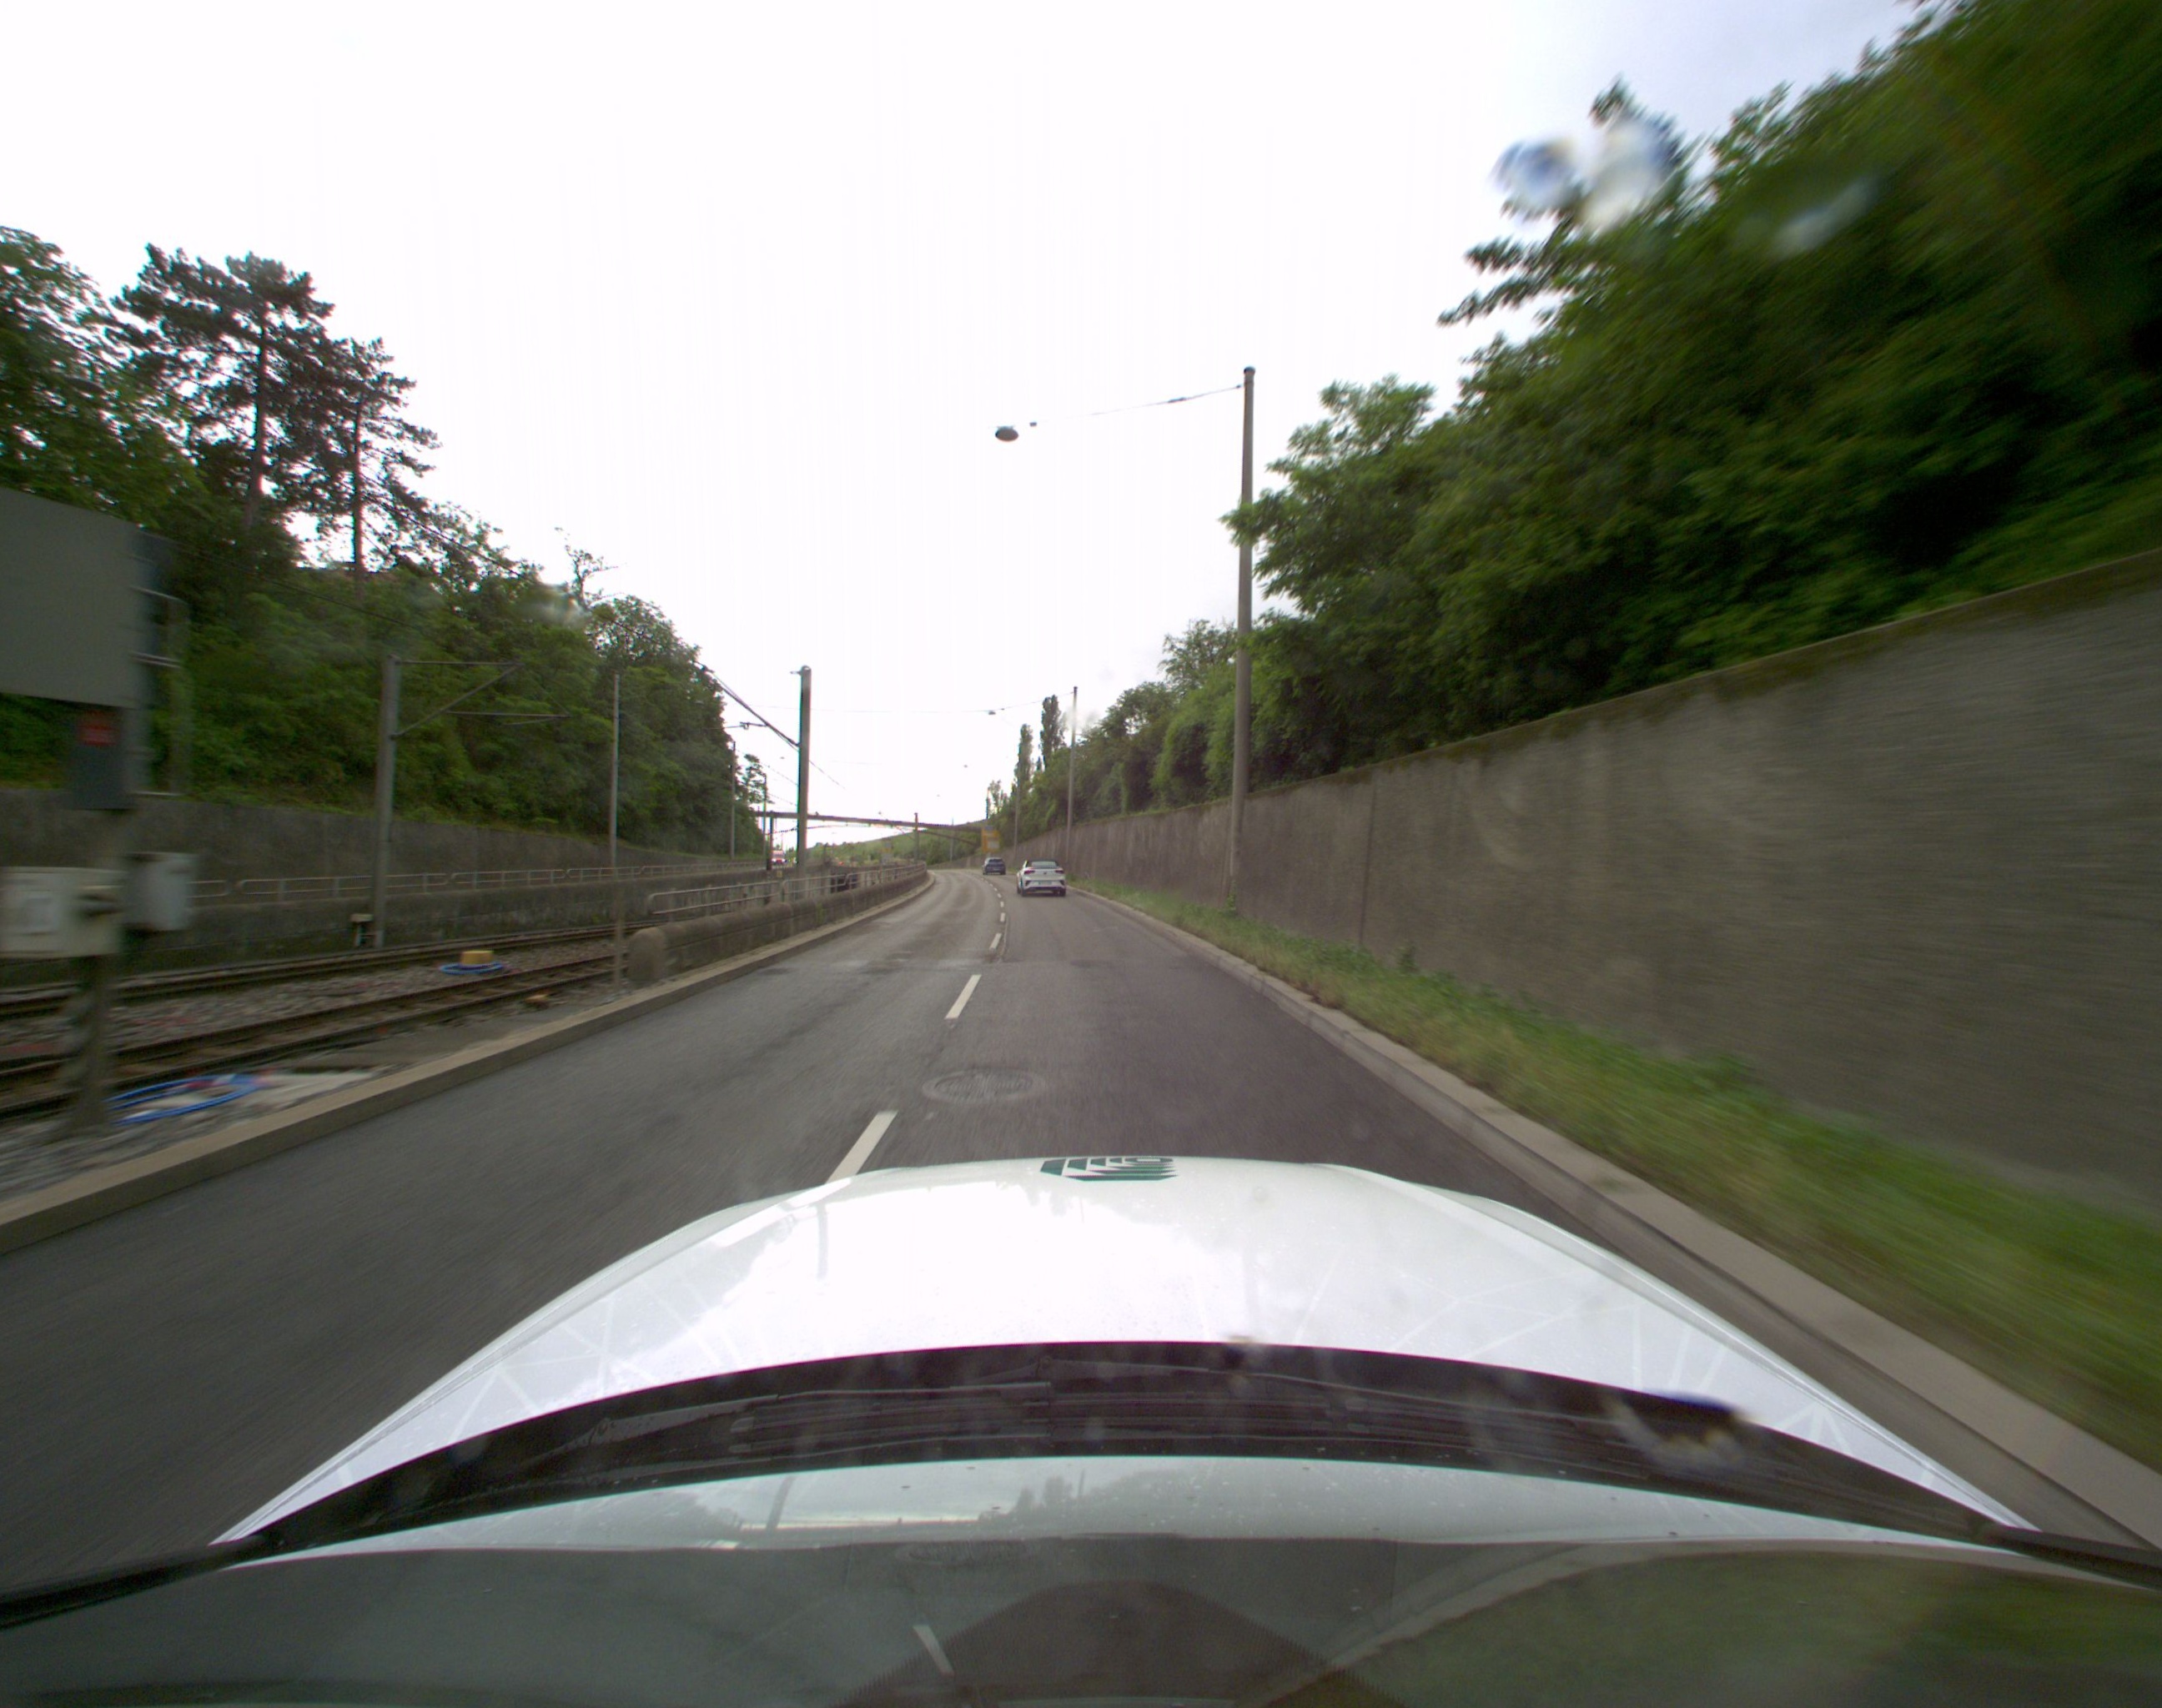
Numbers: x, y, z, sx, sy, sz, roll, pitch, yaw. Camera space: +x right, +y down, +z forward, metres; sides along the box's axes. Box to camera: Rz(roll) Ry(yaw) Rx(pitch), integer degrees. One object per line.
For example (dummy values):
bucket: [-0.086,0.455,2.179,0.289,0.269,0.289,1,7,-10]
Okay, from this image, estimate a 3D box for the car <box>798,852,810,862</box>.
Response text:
car: [-50.277,0.525,147.978,1.967,1.750,4.115,-1,-1,-19]

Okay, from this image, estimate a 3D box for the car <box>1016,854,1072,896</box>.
car: [-1.605,0.818,33.709,1.994,1.578,4.115,-1,0,-7]

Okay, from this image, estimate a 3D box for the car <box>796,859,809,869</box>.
car: [-47.376,1.702,138.558,1.822,1.704,4.087,-1,-1,-17]

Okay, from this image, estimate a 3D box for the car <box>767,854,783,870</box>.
car: [-53.697,1.468,143.002,2.188,2.734,6.308,-1,-1,-17]

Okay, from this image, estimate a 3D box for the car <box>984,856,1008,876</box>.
car: [-7.216,0.999,69.475,1.923,1.599,4.054,-1,0,-5]
